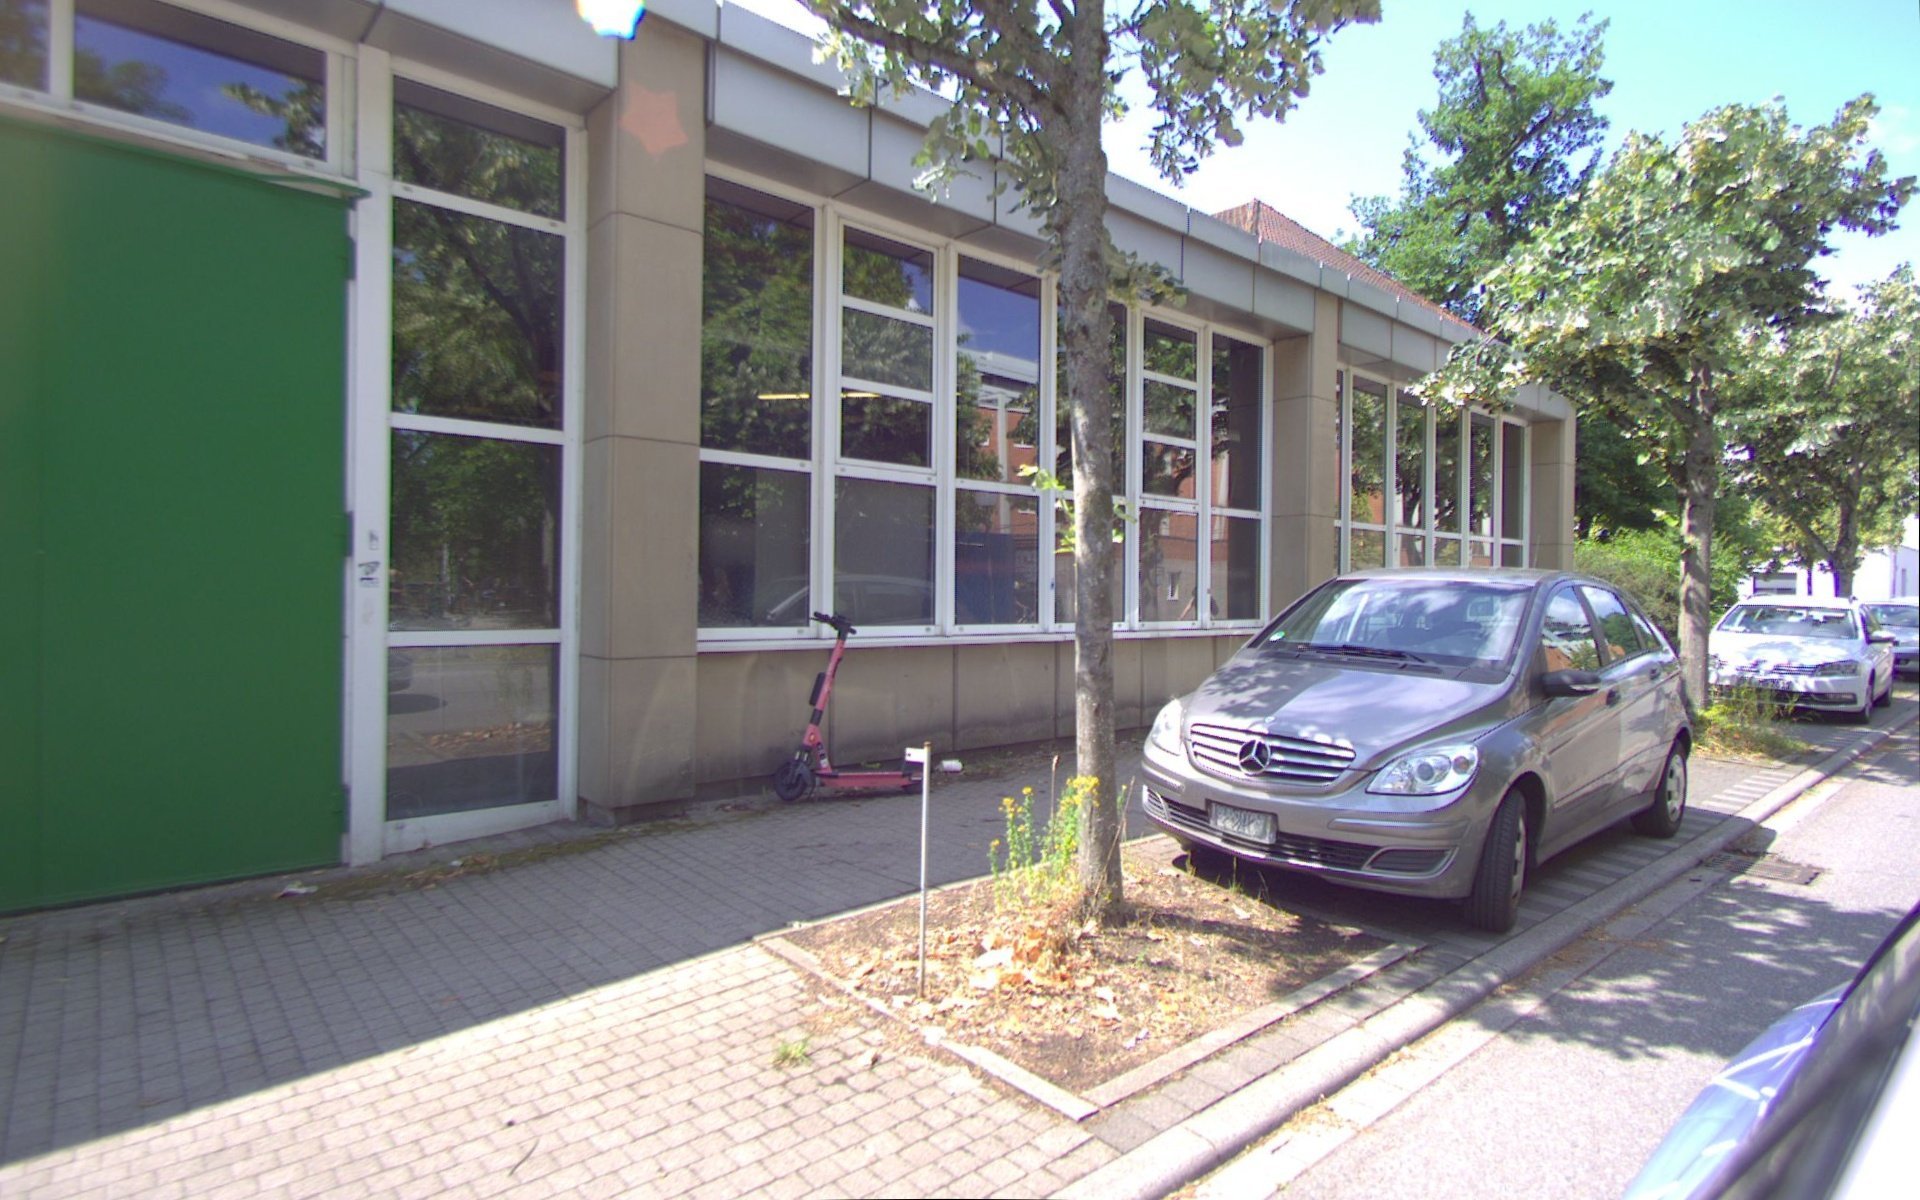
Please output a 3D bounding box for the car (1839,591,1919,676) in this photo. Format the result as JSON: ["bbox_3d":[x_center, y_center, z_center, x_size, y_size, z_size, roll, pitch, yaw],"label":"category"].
[{"bbox_3d":[17.432,0.551,18.502,3.921,1.408,1.648,-1,1,-43],"label":"car"}]

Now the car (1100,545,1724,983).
[{"bbox_3d":[2.762,0.553,5.685,4.070,1.593,1.706,0,2,-43],"label":"car"}]

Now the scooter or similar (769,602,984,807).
[{"bbox_3d":[-0.533,0.644,6.838,1.467,1.232,0.416,0,2,-41],"label":"scooter or similar"}]

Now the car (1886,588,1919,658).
[{"bbox_3d":[21.973,0.481,22.620,3.922,1.485,1.589,0,1,-43],"label":"car"}]

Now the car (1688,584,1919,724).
[{"bbox_3d":[11.059,0.567,13.128,4.592,1.485,1.728,0,2,-43],"label":"car"}]
